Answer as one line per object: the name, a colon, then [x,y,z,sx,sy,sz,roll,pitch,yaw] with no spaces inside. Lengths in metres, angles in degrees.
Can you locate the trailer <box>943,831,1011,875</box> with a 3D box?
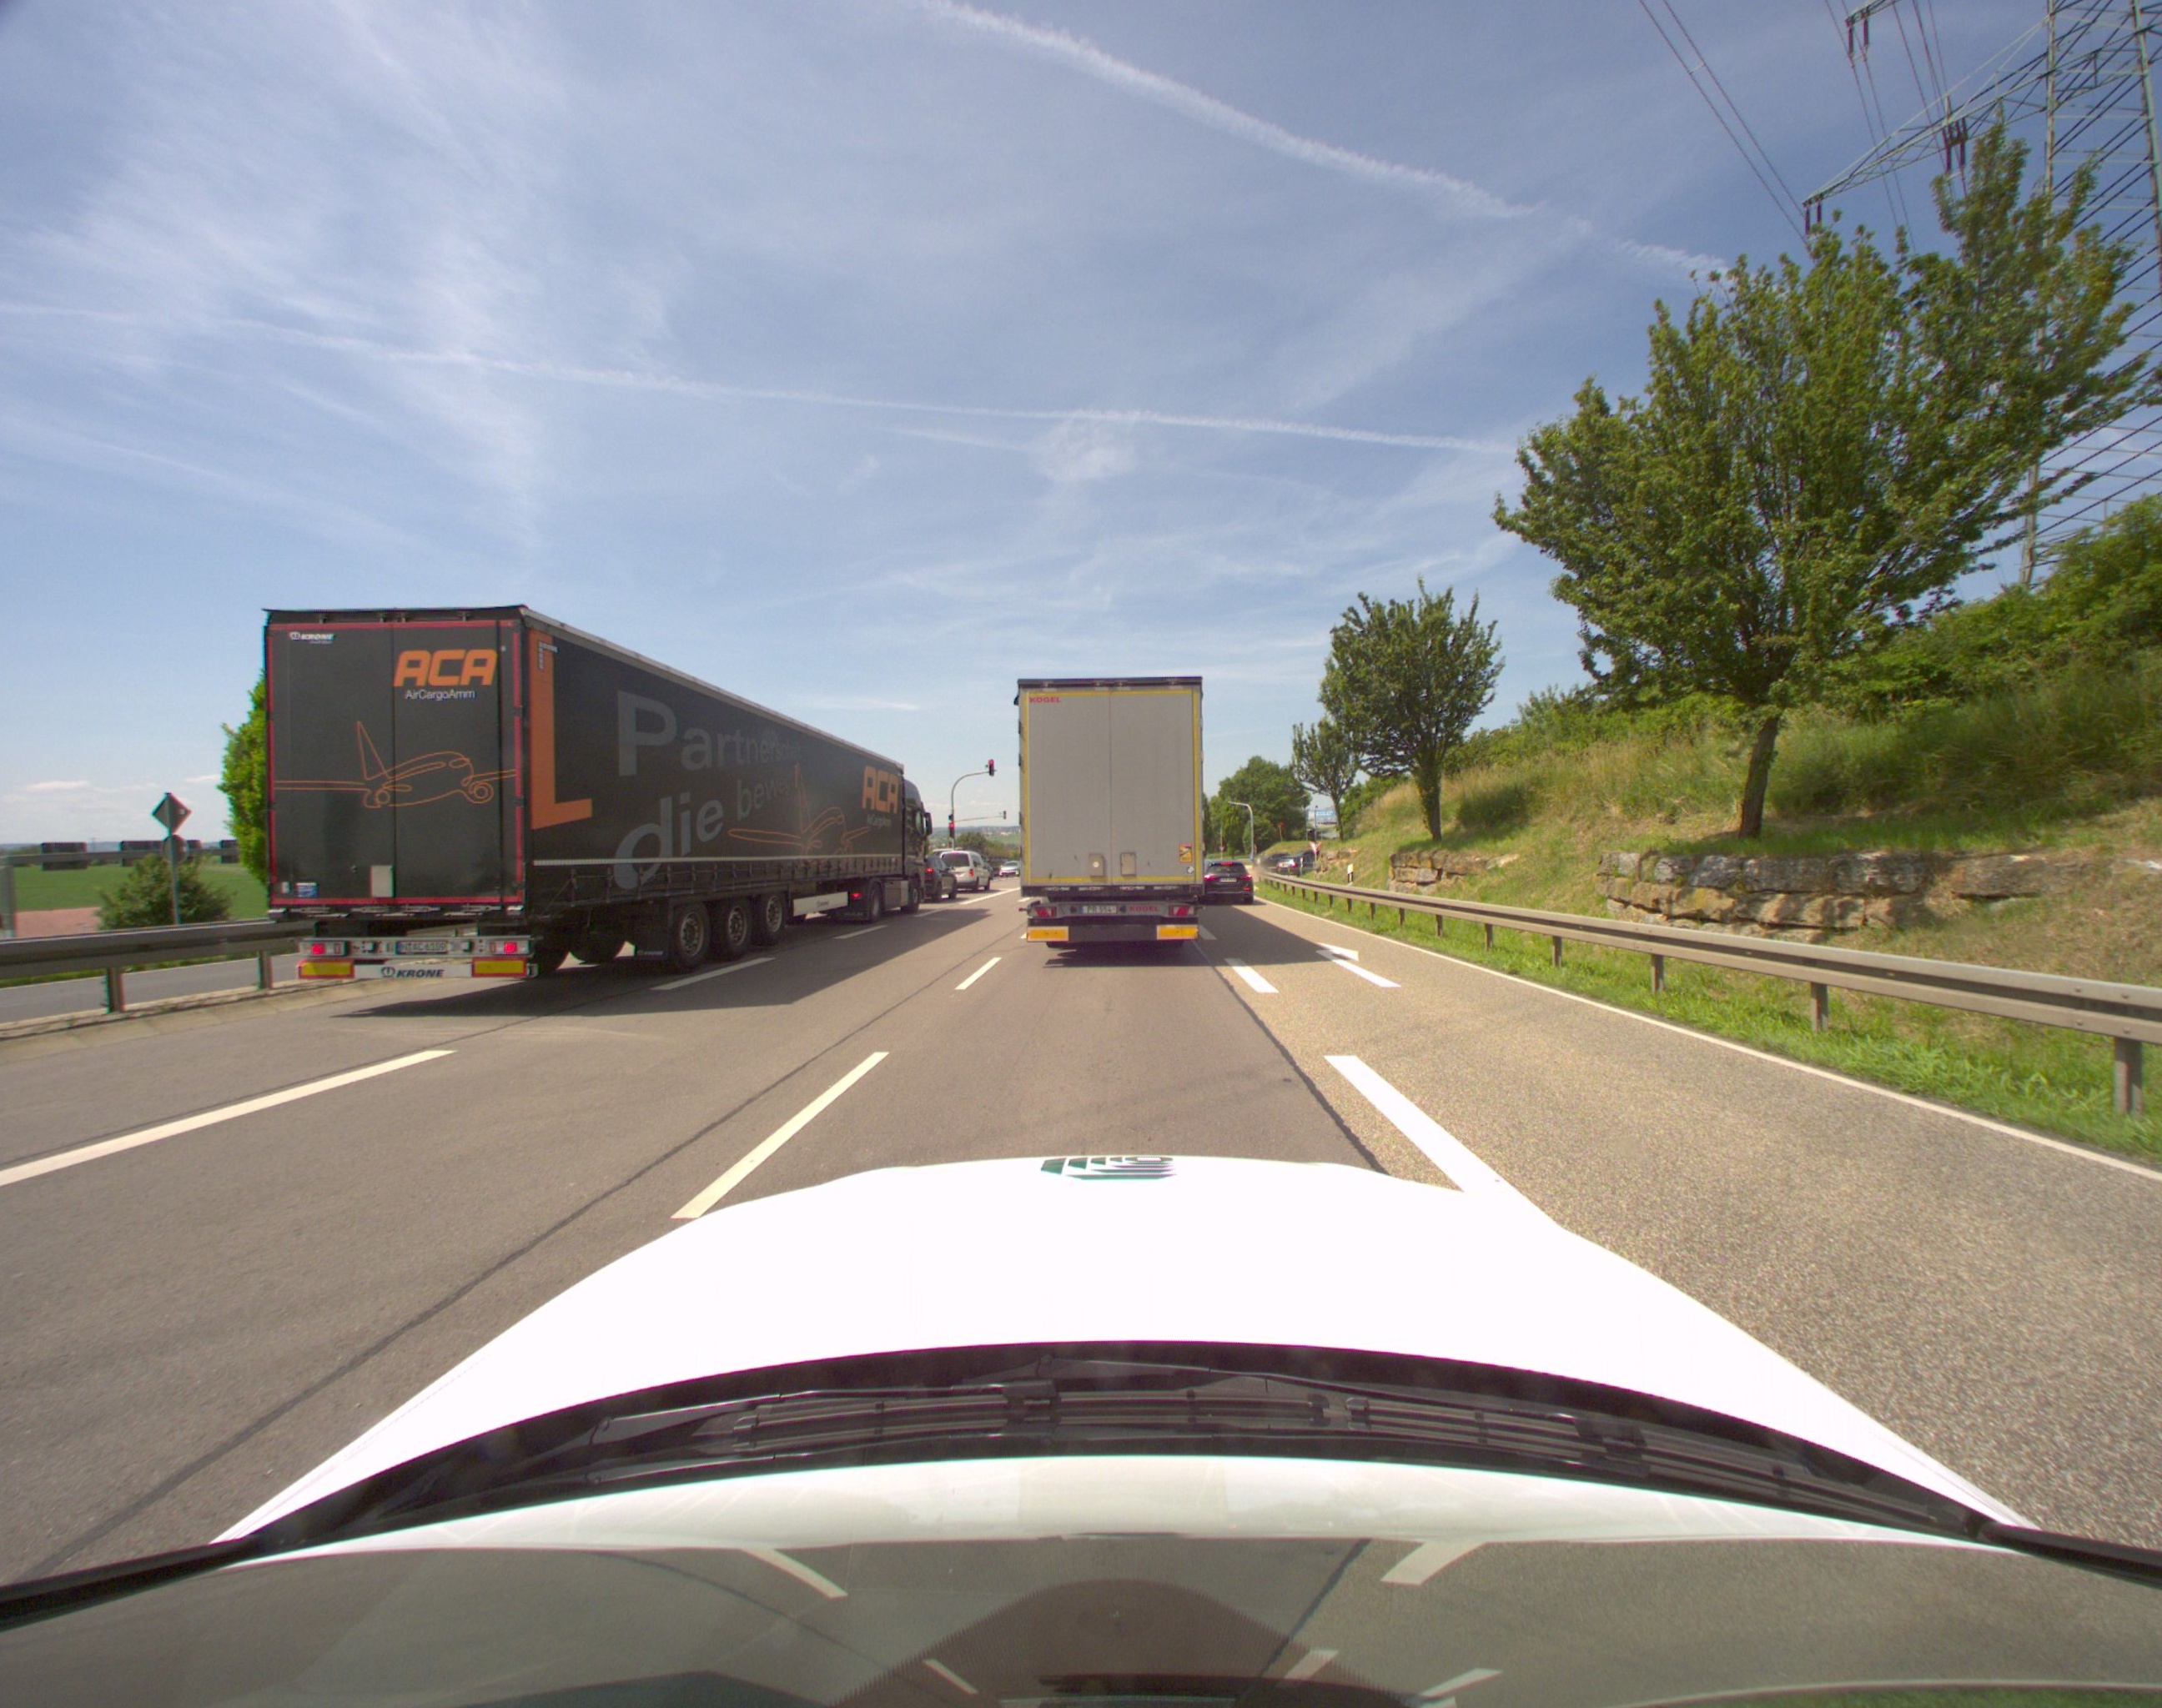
trailer: [-9.960,0.050,81.438,2.627,3.763,19.822,-2,-1,5]

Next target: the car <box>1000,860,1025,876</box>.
car: [-6.392,1.319,76.762,1.729,1.528,4.004,0,-1,4]

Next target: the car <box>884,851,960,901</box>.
car: [-5.685,0.754,29.621,1.849,1.657,4.348,0,0,1]

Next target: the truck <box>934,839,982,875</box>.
truck: [-10.745,0.299,71.703,2.787,3.014,5.996,-2,-1,4]

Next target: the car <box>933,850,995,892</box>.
car: [-5.292,0.734,37.436,1.759,1.798,4.758,0,0,5]

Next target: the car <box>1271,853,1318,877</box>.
car: [14.969,0.769,56.956,1.779,1.640,4.025,-1,-1,36]

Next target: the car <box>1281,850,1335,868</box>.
car: [20.467,0.481,73.414,4.355,1.510,1.711,-1,-1,-8]

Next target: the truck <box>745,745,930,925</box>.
truck: [-6.000,-0.417,21.216,2.772,4.013,5.975,0,0,3]

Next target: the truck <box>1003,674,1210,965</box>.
truck: [0.557,-0.420,16.719,2.788,3.930,11.346,0,-1,2]

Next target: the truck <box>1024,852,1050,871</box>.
truck: [-5.169,0.915,95.761,1.954,2.157,4.637,-2,-1,11]

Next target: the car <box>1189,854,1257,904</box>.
car: [4.695,0.799,27.468,1.739,1.532,4.301,0,-1,3]

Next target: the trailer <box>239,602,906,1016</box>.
trailer: [-6.324,-0.383,14.627,2.772,3.913,13.795,0,0,3]

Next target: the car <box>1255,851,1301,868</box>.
car: [19.207,0.540,79.505,3.981,1.510,1.713,-1,-1,-6]
